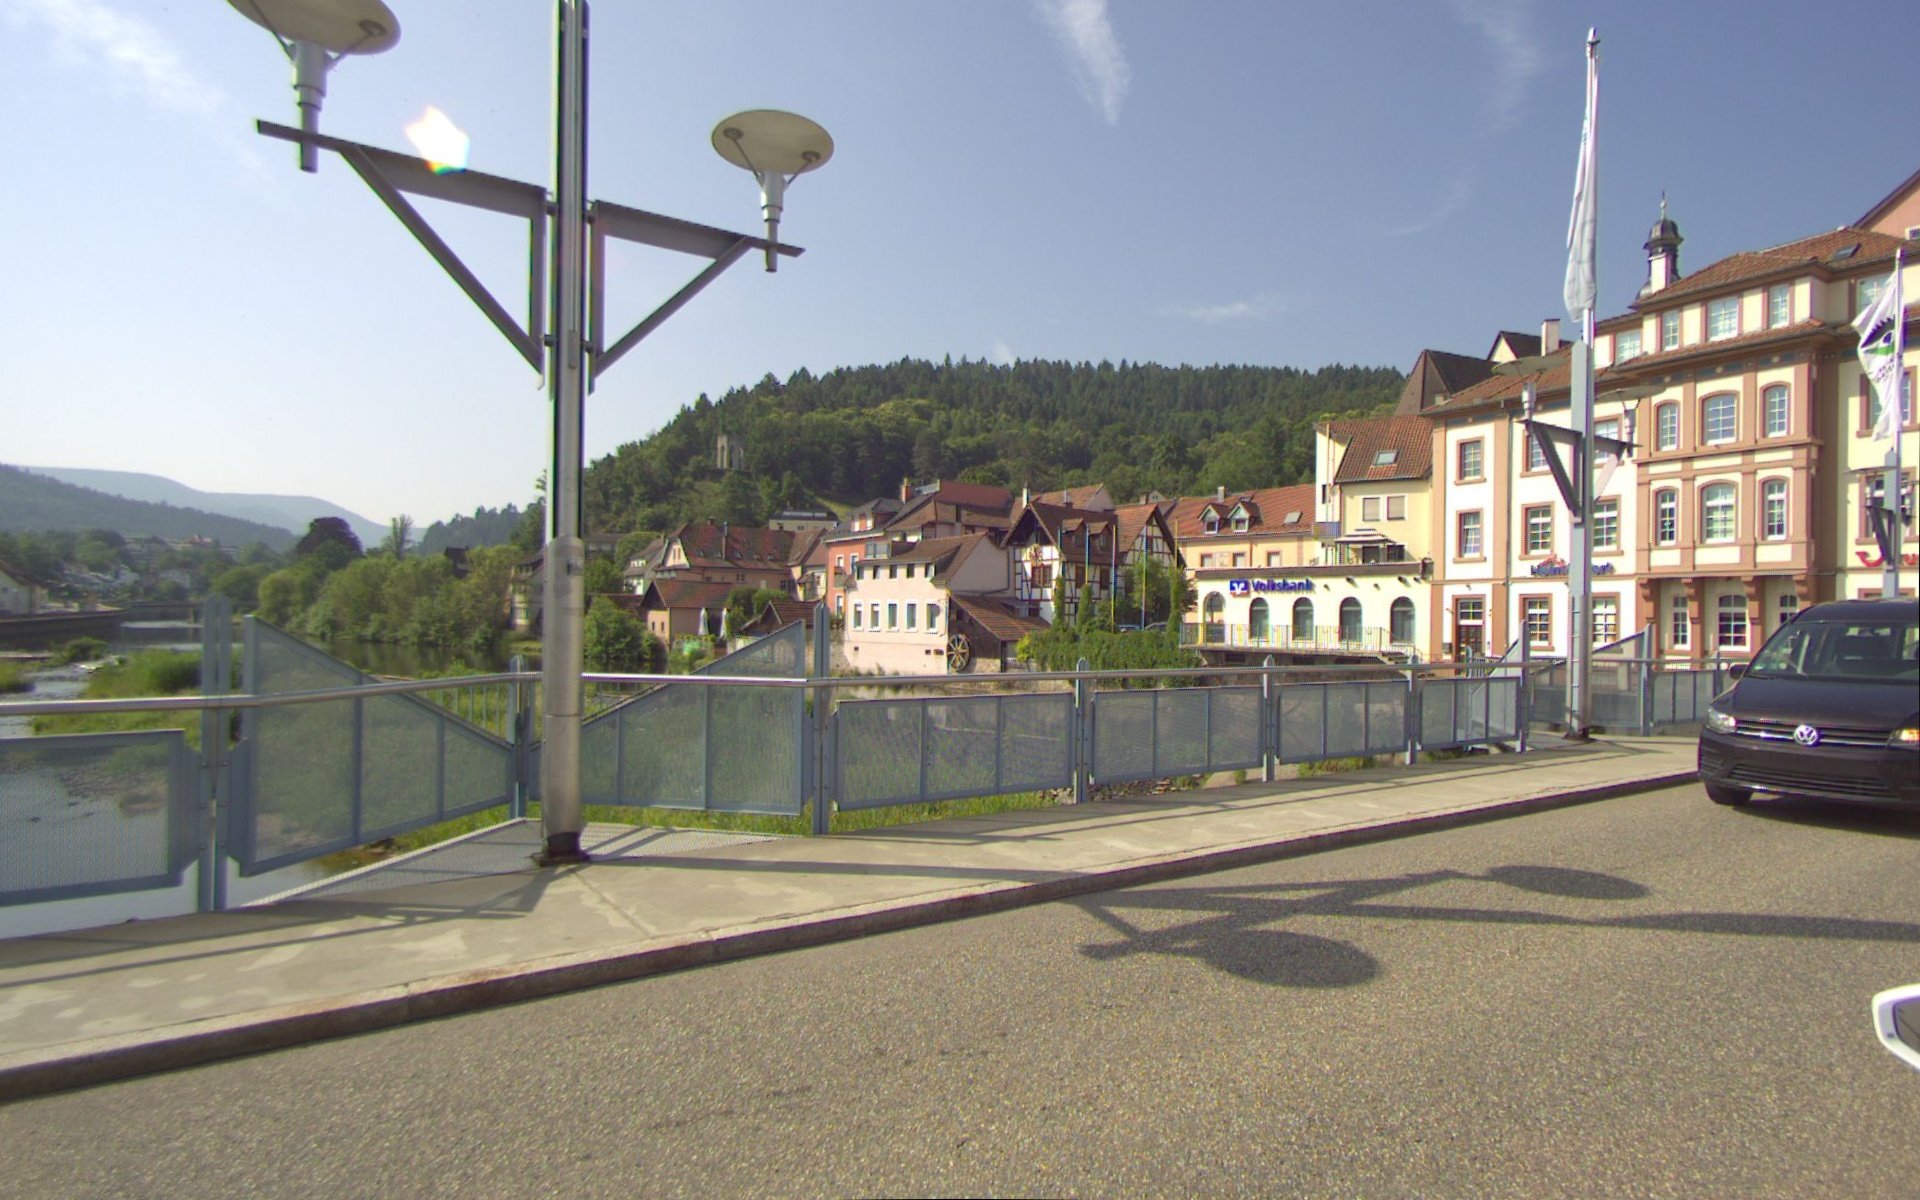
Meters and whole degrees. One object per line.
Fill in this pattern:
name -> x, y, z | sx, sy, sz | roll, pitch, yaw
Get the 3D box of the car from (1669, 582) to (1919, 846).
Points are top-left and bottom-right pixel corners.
car -> 8.211, 0.809, 8.755 | 4.647, 1.816, 1.766 | 1, 0, -34

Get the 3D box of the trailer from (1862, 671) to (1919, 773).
trailer -> 11.855, 1.341, 11.199 | 4.143, 1.035, 1.740 | 3, -3, -34
